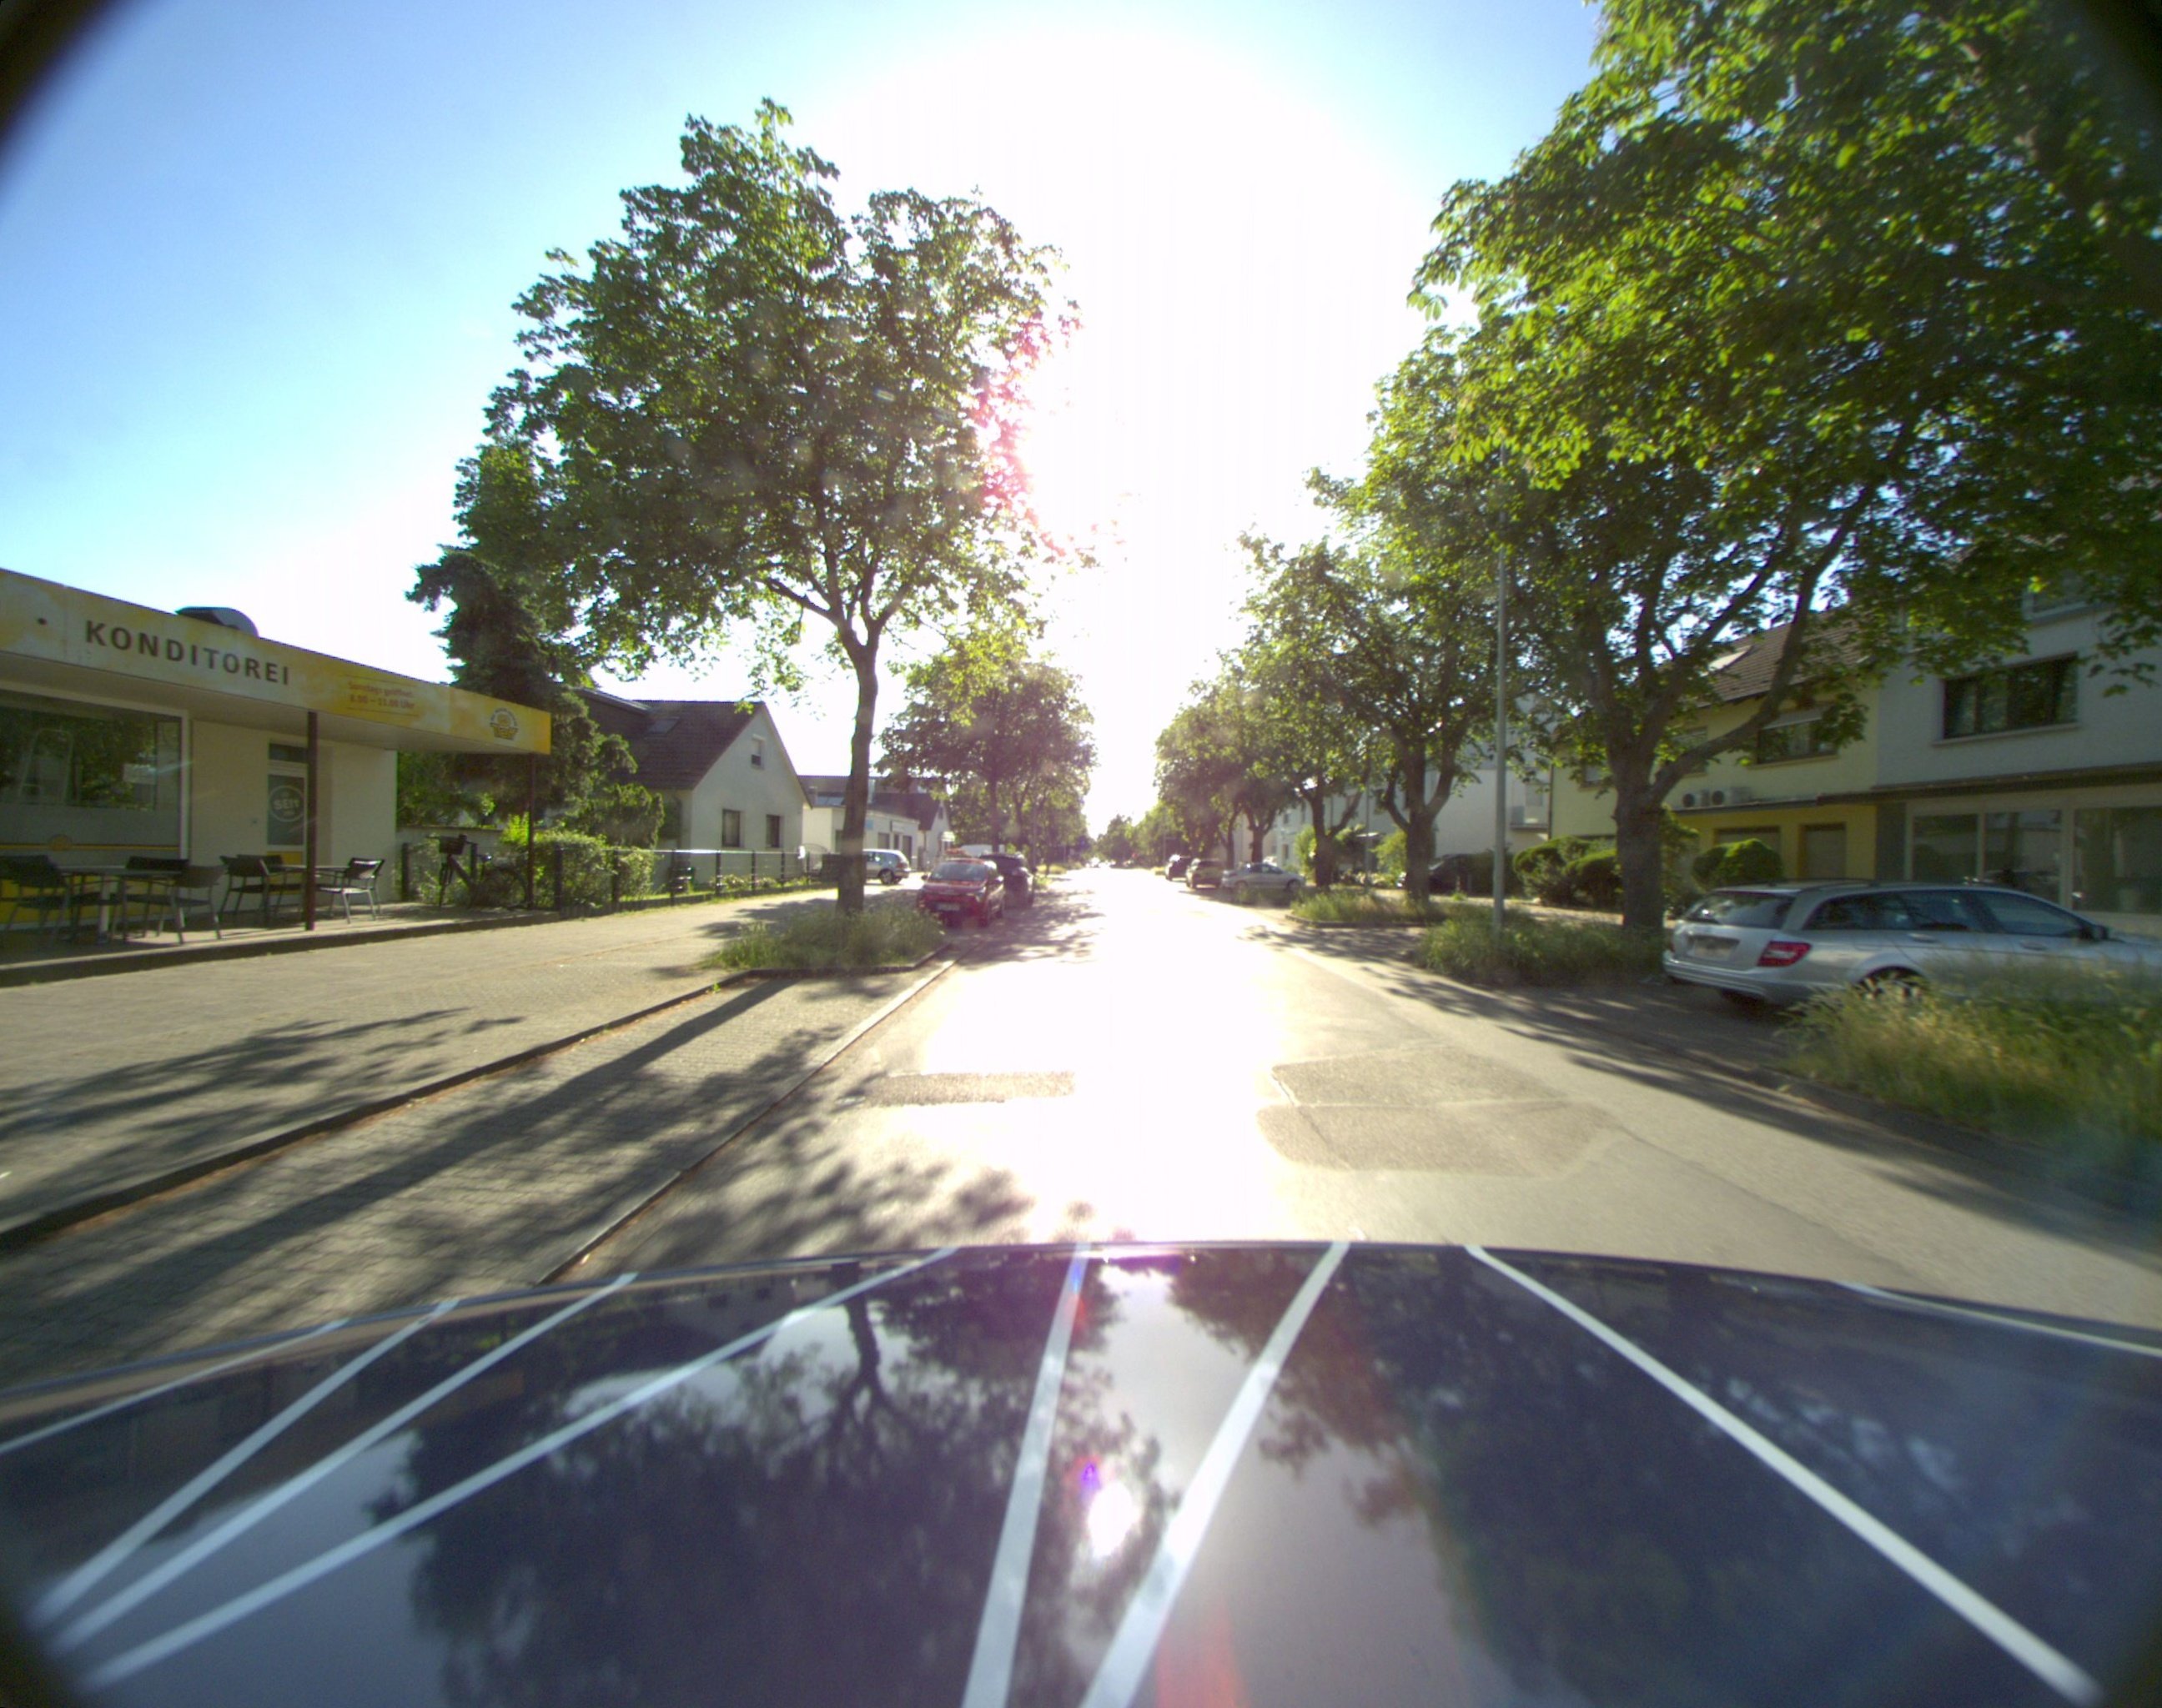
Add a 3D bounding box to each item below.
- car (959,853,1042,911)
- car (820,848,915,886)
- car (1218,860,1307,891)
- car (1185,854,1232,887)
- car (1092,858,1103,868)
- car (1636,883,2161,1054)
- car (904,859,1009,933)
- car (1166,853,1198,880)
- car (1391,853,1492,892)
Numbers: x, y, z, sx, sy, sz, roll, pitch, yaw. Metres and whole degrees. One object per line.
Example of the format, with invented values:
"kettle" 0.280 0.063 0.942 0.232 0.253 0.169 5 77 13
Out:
"car" -2.456 0.806 24.214 1.941 1.684 4.363 0 0 3
"car" -9.218 0.547 33.011 3.621 1.431 1.695 -2 1 -2
"car" 8.351 0.965 35.175 3.695 1.315 1.624 -1 1 -5
"car" 6.646 0.811 40.022 1.998 1.530 3.695 -2 1 3
"car" 2.679 1.476 124.342 1.539 1.582 3.458 -2 1 3
"car" 8.670 1.075 7.859 4.392 1.408 2.000 -1 1 0
"car" -2.784 0.893 17.820 1.690 1.414 3.777 2 1 2
"car" 6.757 0.821 51.340 1.815 1.722 4.056 1 0 3
"car" 16.521 0.831 34.963 3.773 1.557 1.691 2 1 4
